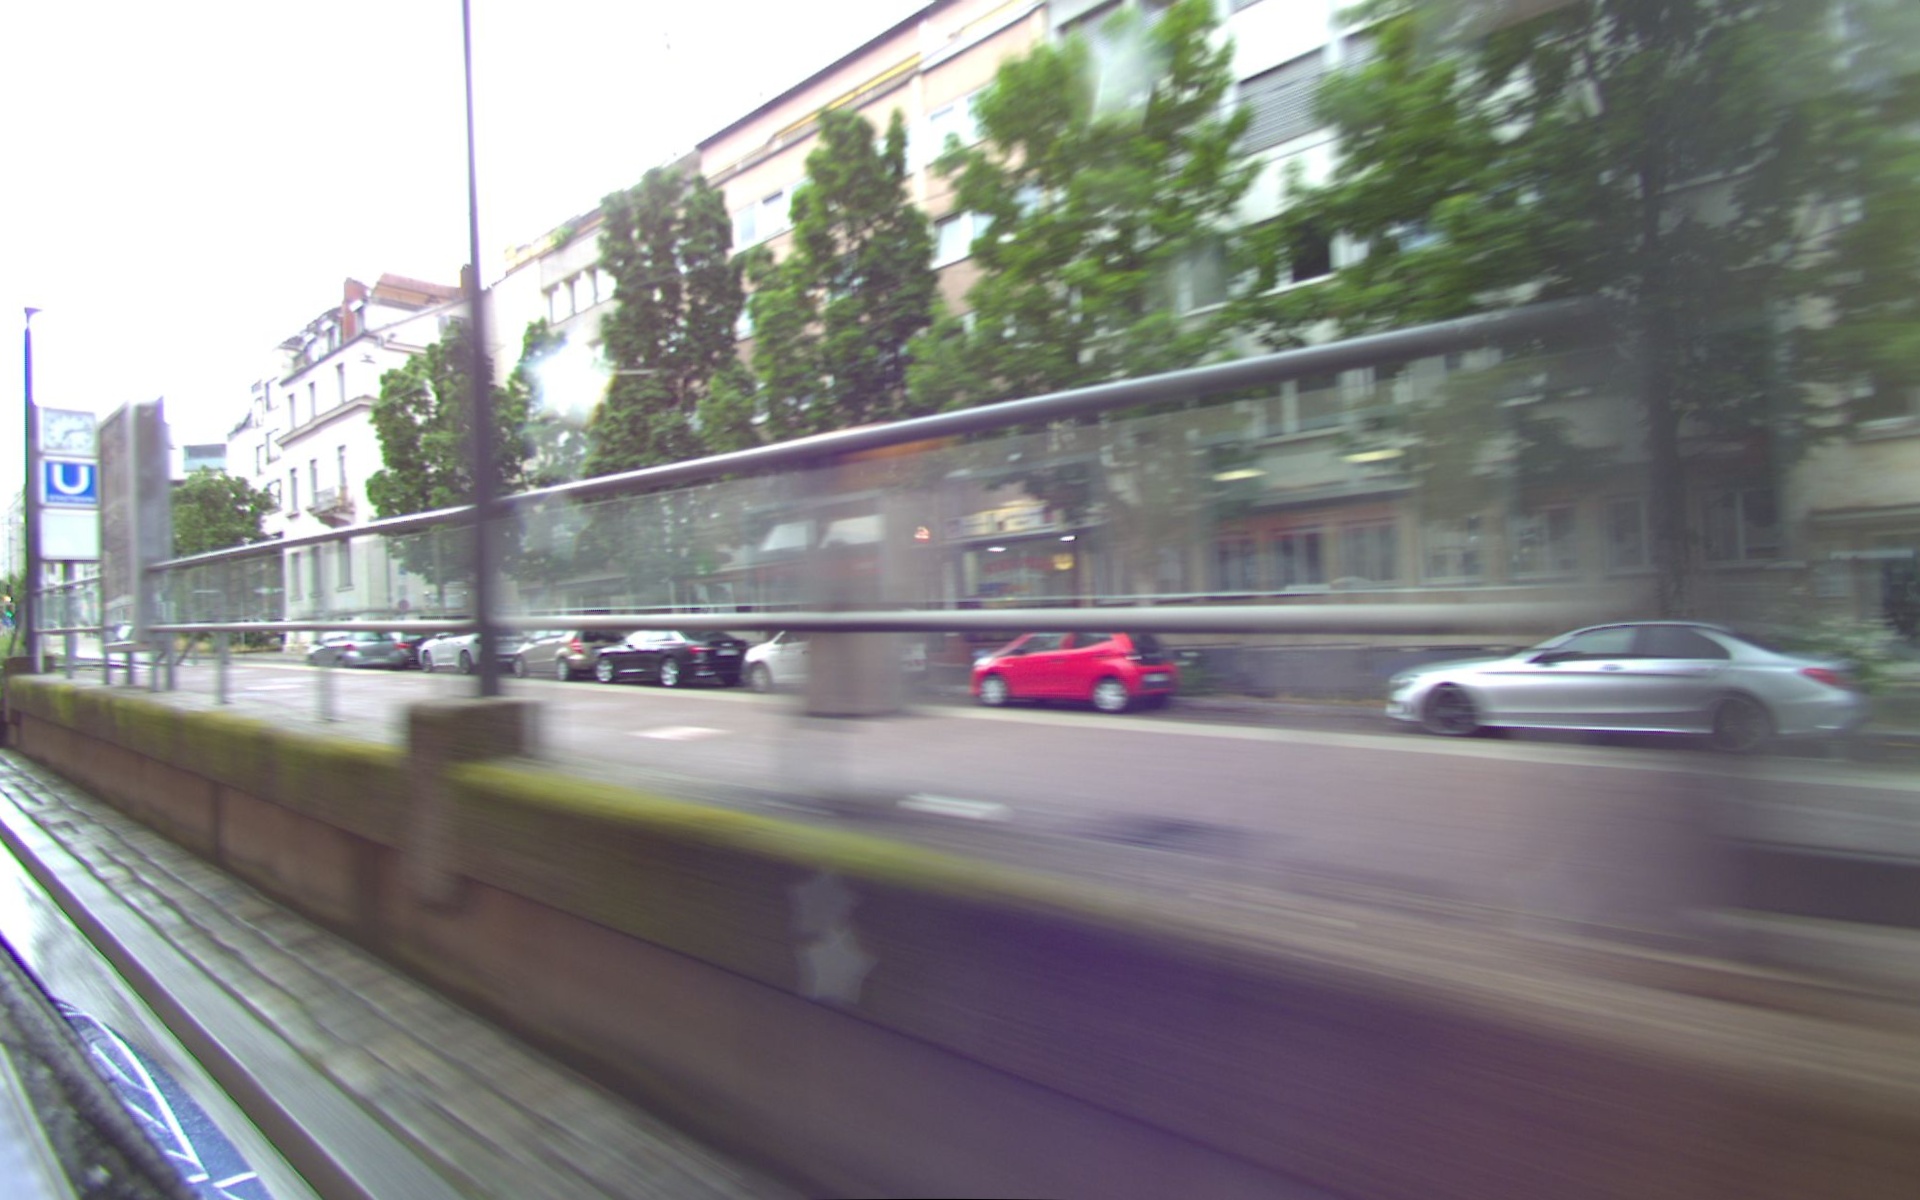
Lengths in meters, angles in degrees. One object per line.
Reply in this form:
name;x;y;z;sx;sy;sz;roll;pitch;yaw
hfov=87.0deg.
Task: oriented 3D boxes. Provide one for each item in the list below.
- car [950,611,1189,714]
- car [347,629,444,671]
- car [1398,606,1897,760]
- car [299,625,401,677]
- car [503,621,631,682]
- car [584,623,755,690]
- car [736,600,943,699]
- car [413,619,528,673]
car;1.804;0.994;17.271;3.800;1.551;1.622;-1;-1;40
car;-20.063;1.725;35.889;4.456;1.386;1.695;-1;-1;42
car;7.713;0.839;11.786;4.524;1.473;1.676;-1;-1;38
car;-18.991;1.537;31.450;3.962;1.473;1.621;-1;-1;41
car;-10.866;1.369;27.873;4.020;1.549;1.621;-1;-1;41
car;-7.083;1.292;24.415;4.726;1.451;1.622;-1;-1;40
car;-2.559;0.960;20.874;4.428;1.831;1.657;-1;-1;40
car;-15.548;1.416;32.045;4.334;1.596;1.641;-1;-1;40
